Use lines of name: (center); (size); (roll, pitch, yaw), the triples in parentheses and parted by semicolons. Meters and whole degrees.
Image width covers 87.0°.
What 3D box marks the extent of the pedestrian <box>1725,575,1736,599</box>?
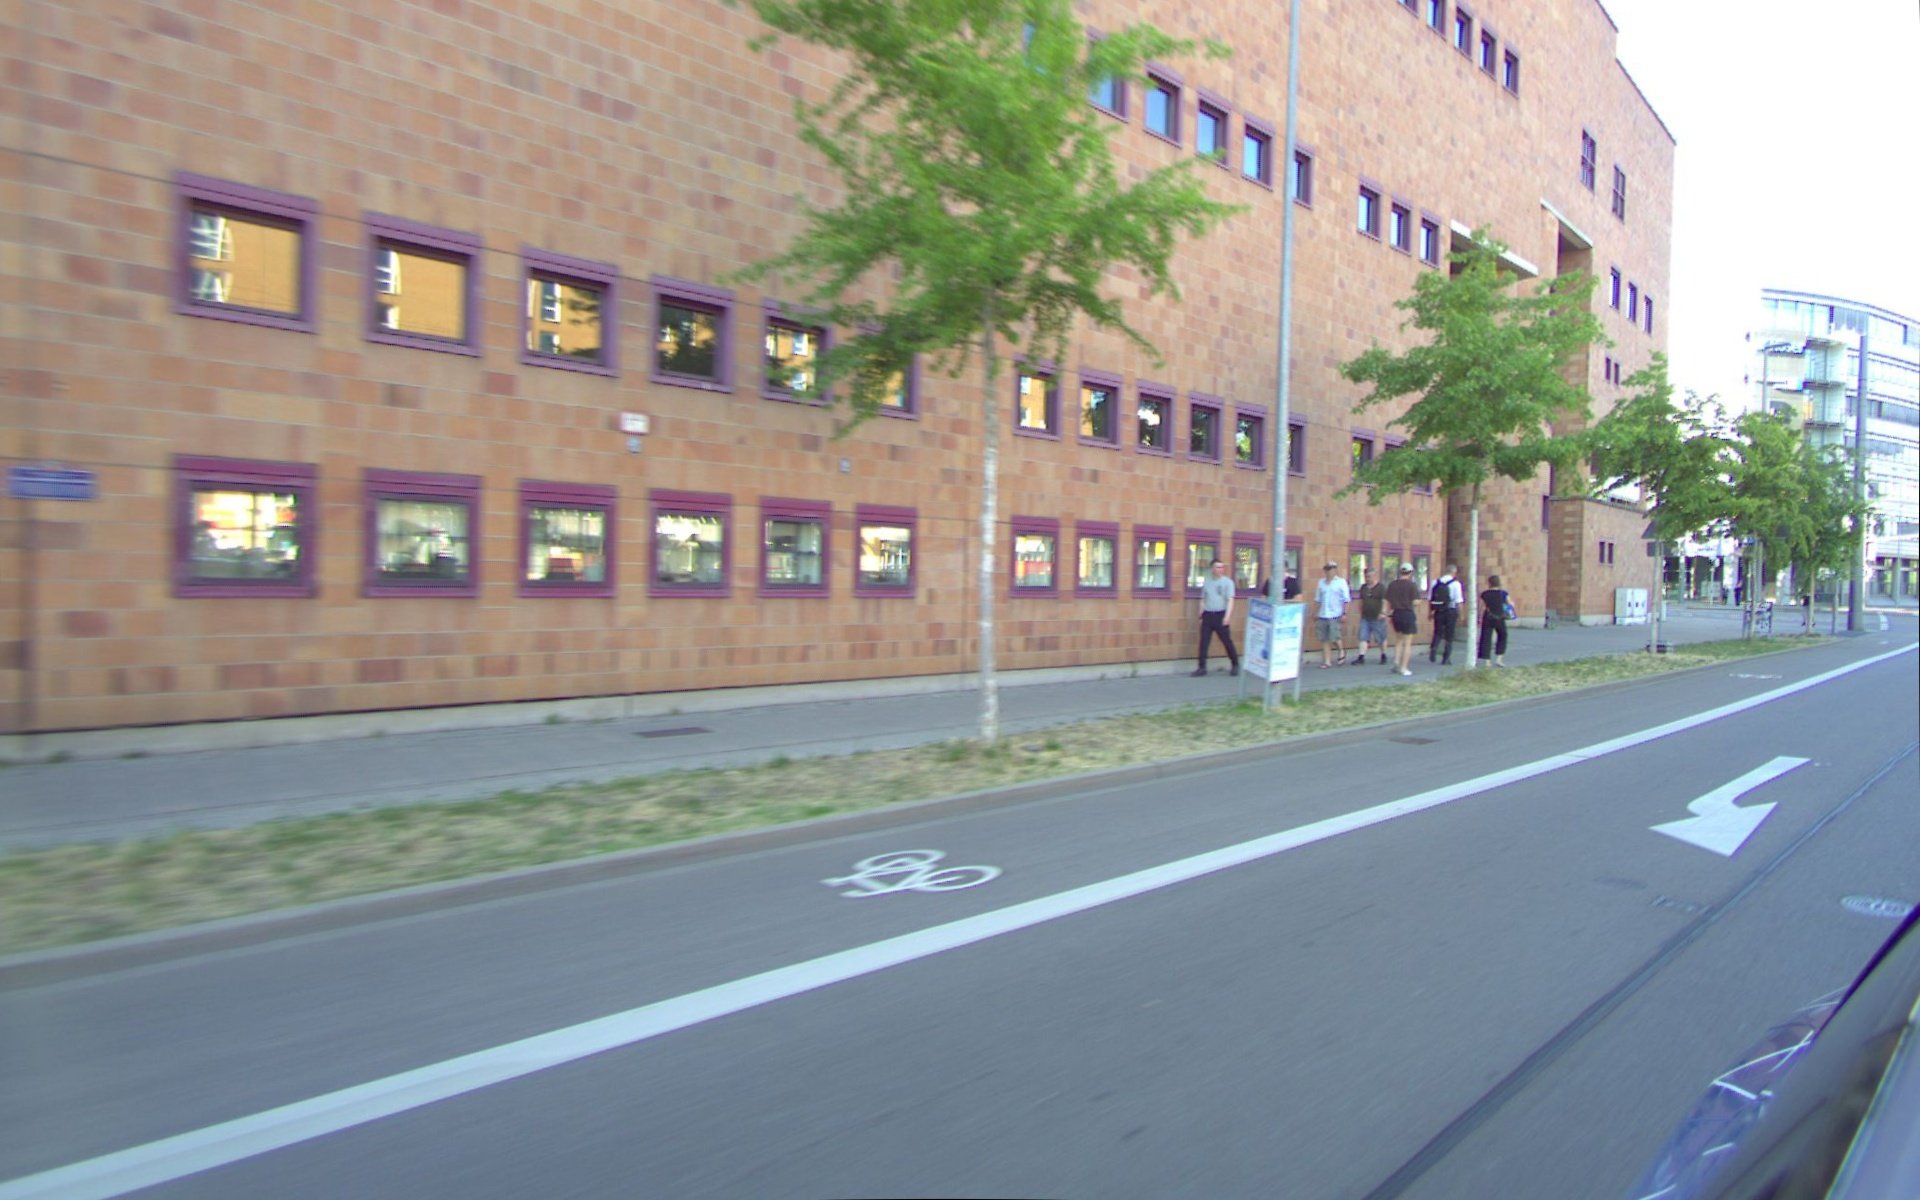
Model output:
pedestrian: (59.742, -1.040, 78.454); (0.586, 1.846, 0.537); (2, 2, 37)

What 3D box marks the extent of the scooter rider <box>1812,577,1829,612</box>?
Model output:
scooter rider: (36.471, -0.245, 42.885); (0.506, 1.479, 0.711); (3, 2, 42)

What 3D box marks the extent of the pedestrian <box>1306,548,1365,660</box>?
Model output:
pedestrian: (6.118, 0.053, 16.504); (0.681, 1.778, 0.539); (0, 2, -28)

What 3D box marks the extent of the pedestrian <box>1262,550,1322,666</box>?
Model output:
pedestrian: (5.209, 0.109, 15.899); (0.681, 1.778, 0.539); (0, 2, -30)

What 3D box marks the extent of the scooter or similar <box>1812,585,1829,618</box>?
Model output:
scooter or similar: (36.489, 0.058, 42.910); (0.527, 1.334, 1.116); (3, 2, 41)

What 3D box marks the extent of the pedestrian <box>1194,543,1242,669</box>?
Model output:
pedestrian: (3.718, 0.071, 14.595); (0.534, 1.778, 0.417); (2, 2, 30)

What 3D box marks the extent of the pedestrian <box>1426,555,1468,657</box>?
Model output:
pedestrian: (8.506, 0.091, 17.681); (0.568, 1.734, 0.634); (2, 2, 31)

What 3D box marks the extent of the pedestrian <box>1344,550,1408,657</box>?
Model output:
pedestrian: (7.130, 0.047, 17.346); (0.683, 1.778, 0.735); (0, 2, -37)

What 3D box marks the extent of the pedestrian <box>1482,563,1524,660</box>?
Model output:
pedestrian: (9.425, 0.180, 17.559); (0.515, 1.625, 0.695); (2, 2, 36)

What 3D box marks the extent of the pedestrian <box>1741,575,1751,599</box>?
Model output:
pedestrian: (60.551, -1.000, 77.917); (0.543, 1.846, 0.369); (2, 2, 37)

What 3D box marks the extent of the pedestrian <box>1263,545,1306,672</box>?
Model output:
pedestrian: (4.620, 0.110, 14.441); (0.531, 1.778, 0.462); (2, 2, 17)

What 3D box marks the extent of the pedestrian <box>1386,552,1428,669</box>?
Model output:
pedestrian: (6.996, 0.152, 15.846); (0.531, 1.778, 0.419); (2, 2, 21)
